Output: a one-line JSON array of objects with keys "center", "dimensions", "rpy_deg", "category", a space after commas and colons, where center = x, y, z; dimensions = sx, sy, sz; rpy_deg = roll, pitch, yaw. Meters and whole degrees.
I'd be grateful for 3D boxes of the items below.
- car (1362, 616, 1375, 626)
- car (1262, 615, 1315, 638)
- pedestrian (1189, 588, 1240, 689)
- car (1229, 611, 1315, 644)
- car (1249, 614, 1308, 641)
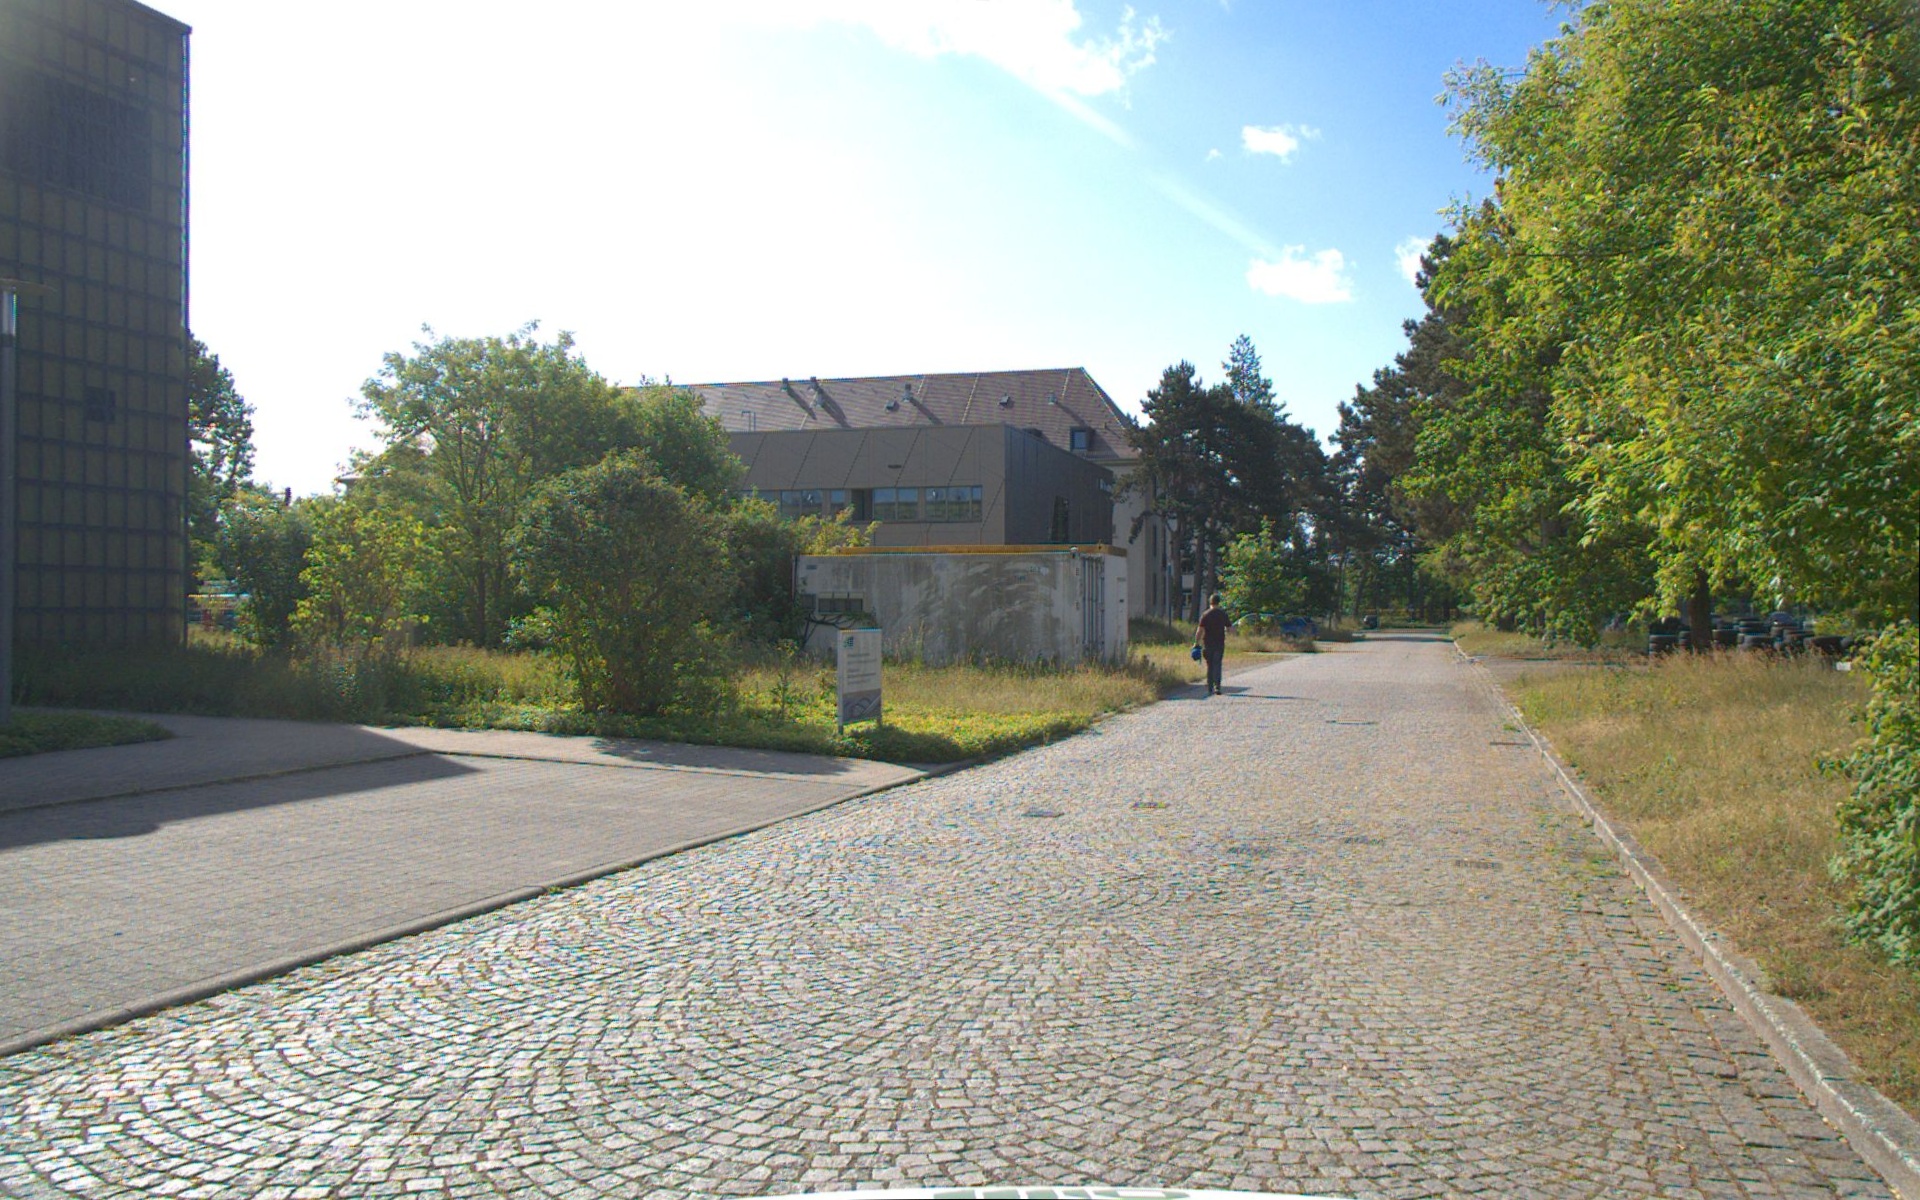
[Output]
[{"center": [47.695, 2.484, 193.119], "dimensions": [1.340, 1.118, 2.865], "rpy_deg": [0, -1, 13], "category": "car"}, {"center": [18.098, 1.458, 91.276], "dimensions": [2.793, 1.227, 1.375], "rpy_deg": [0, -1, 7], "category": "car"}, {"center": [4.707, 0.701, 30.526], "dimensions": [0.778, 1.812, 1.069], "rpy_deg": [1, -1, 14], "category": "pedestrian"}, {"center": [14.205, 1.232, 75.175], "dimensions": [3.751, 1.466, 1.584], "rpy_deg": [0, -1, 14], "category": "car"}, {"center": [15.810, 1.363, 82.152], "dimensions": [2.840, 1.281, 1.289], "rpy_deg": [0, -1, 7], "category": "car"}]
